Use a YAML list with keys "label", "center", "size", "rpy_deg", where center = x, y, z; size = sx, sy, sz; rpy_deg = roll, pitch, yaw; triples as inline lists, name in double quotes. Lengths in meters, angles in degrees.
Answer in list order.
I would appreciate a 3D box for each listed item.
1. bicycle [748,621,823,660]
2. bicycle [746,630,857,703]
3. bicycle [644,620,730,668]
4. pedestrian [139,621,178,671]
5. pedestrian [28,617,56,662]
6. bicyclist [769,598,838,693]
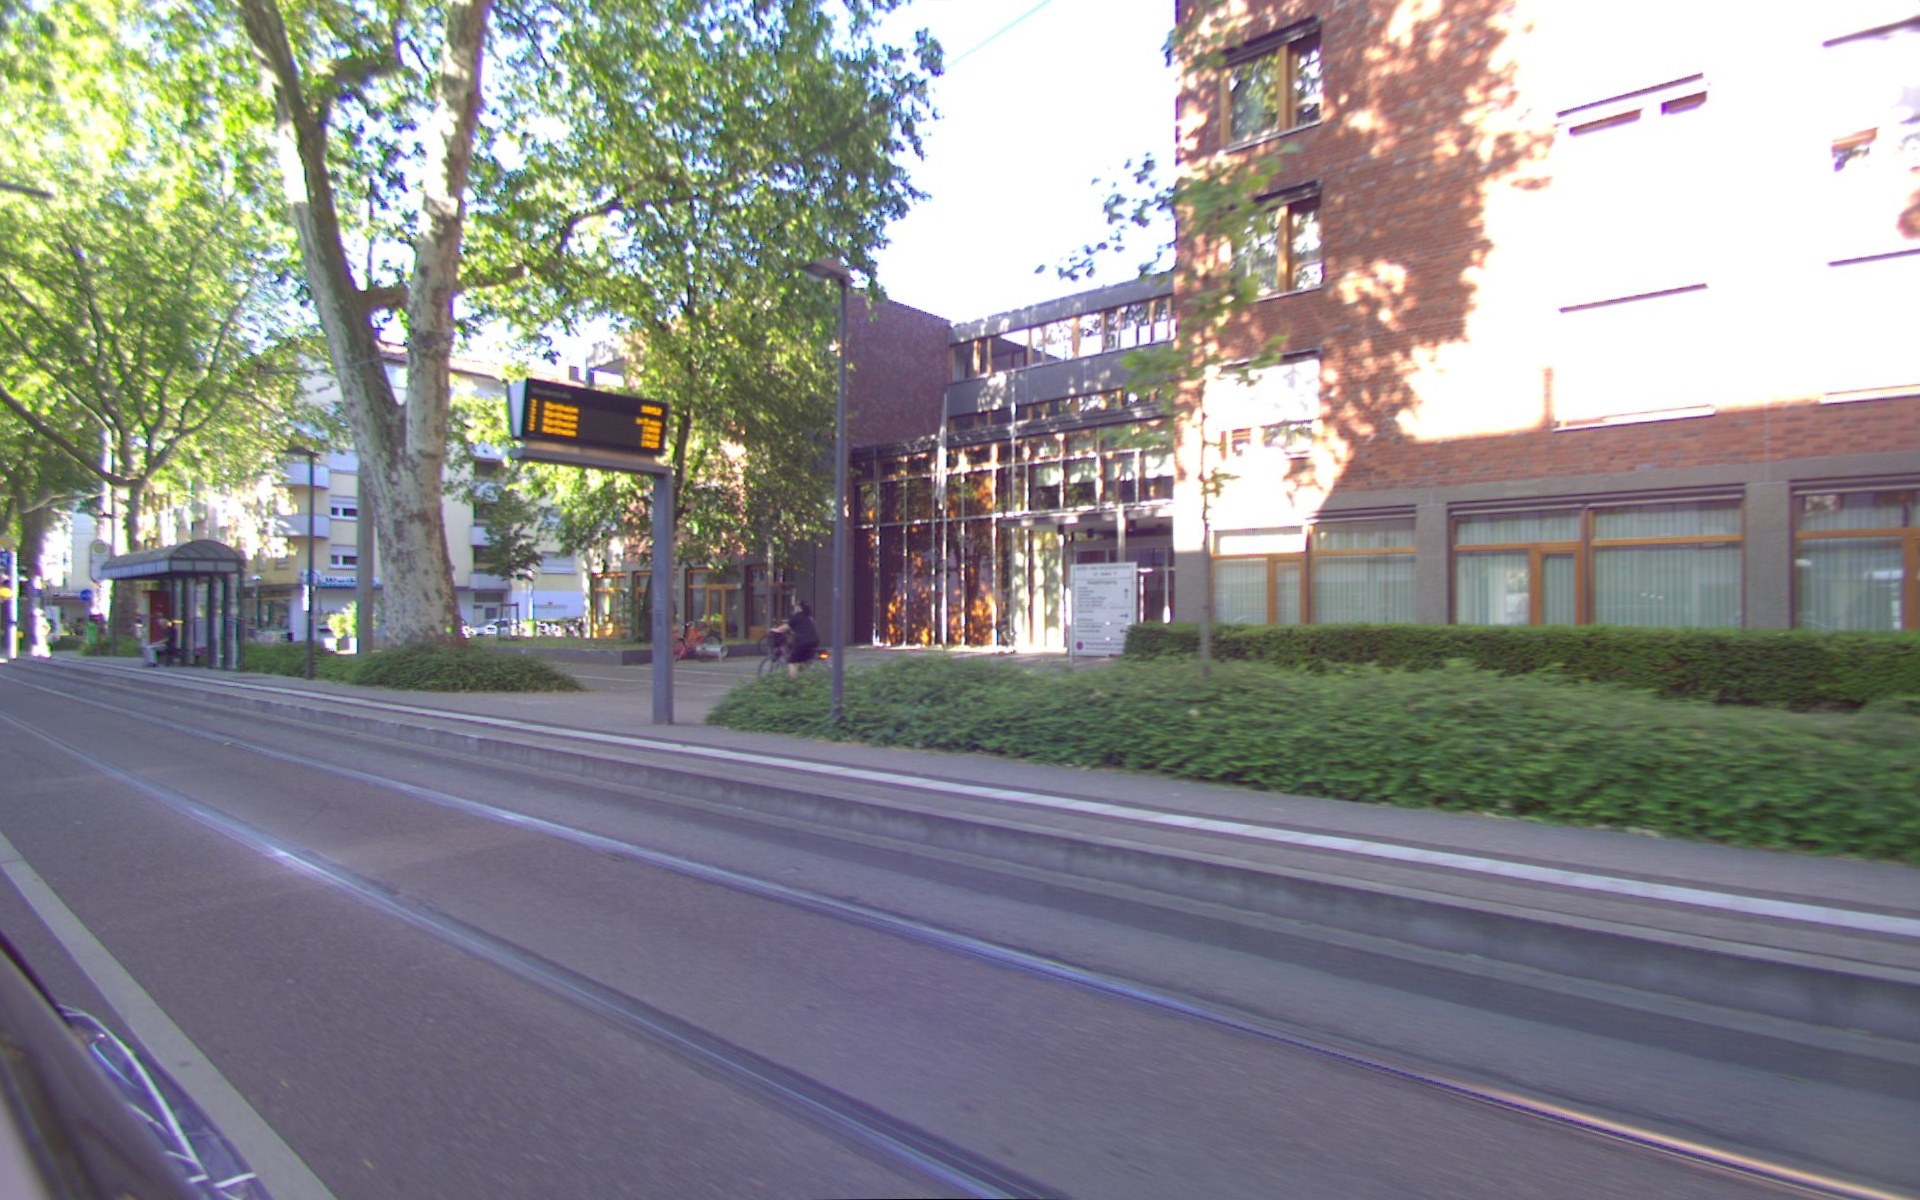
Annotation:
- label: "bicycle"
  center: [-5.091, 1.179, 29.630]
  size: [2.012, 1.102, 0.821]
  rpy_deg: [-1, 0, 3]
- label: "bicycle"
  center: [-2.673, 1.076, 16.895]
  size: [2.039, 1.102, 0.738]
  rpy_deg: [-1, 0, 43]
- label: "bicycle"
  center: [-7.360, 1.158, 27.288]
  size: [2.067, 1.198, 0.883]
  rpy_deg: [-1, 0, -33]
- label: "pedestrian"
  center: [-20.110, 1.137, 25.391]
  size: [0.473, 1.213, 0.699]
  rpy_deg: [-1, 0, 42]
- label: "pedestrian"
  center: [-33.517, 1.450, 36.965]
  size: [0.561, 1.606, 0.699]
  rpy_deg: [-1, 0, 42]
- label: "bicyclist"
  center: [-2.602, 0.731, 16.823]
  size: [0.892, 1.526, 0.725]
  rpy_deg: [-1, 0, 44]
